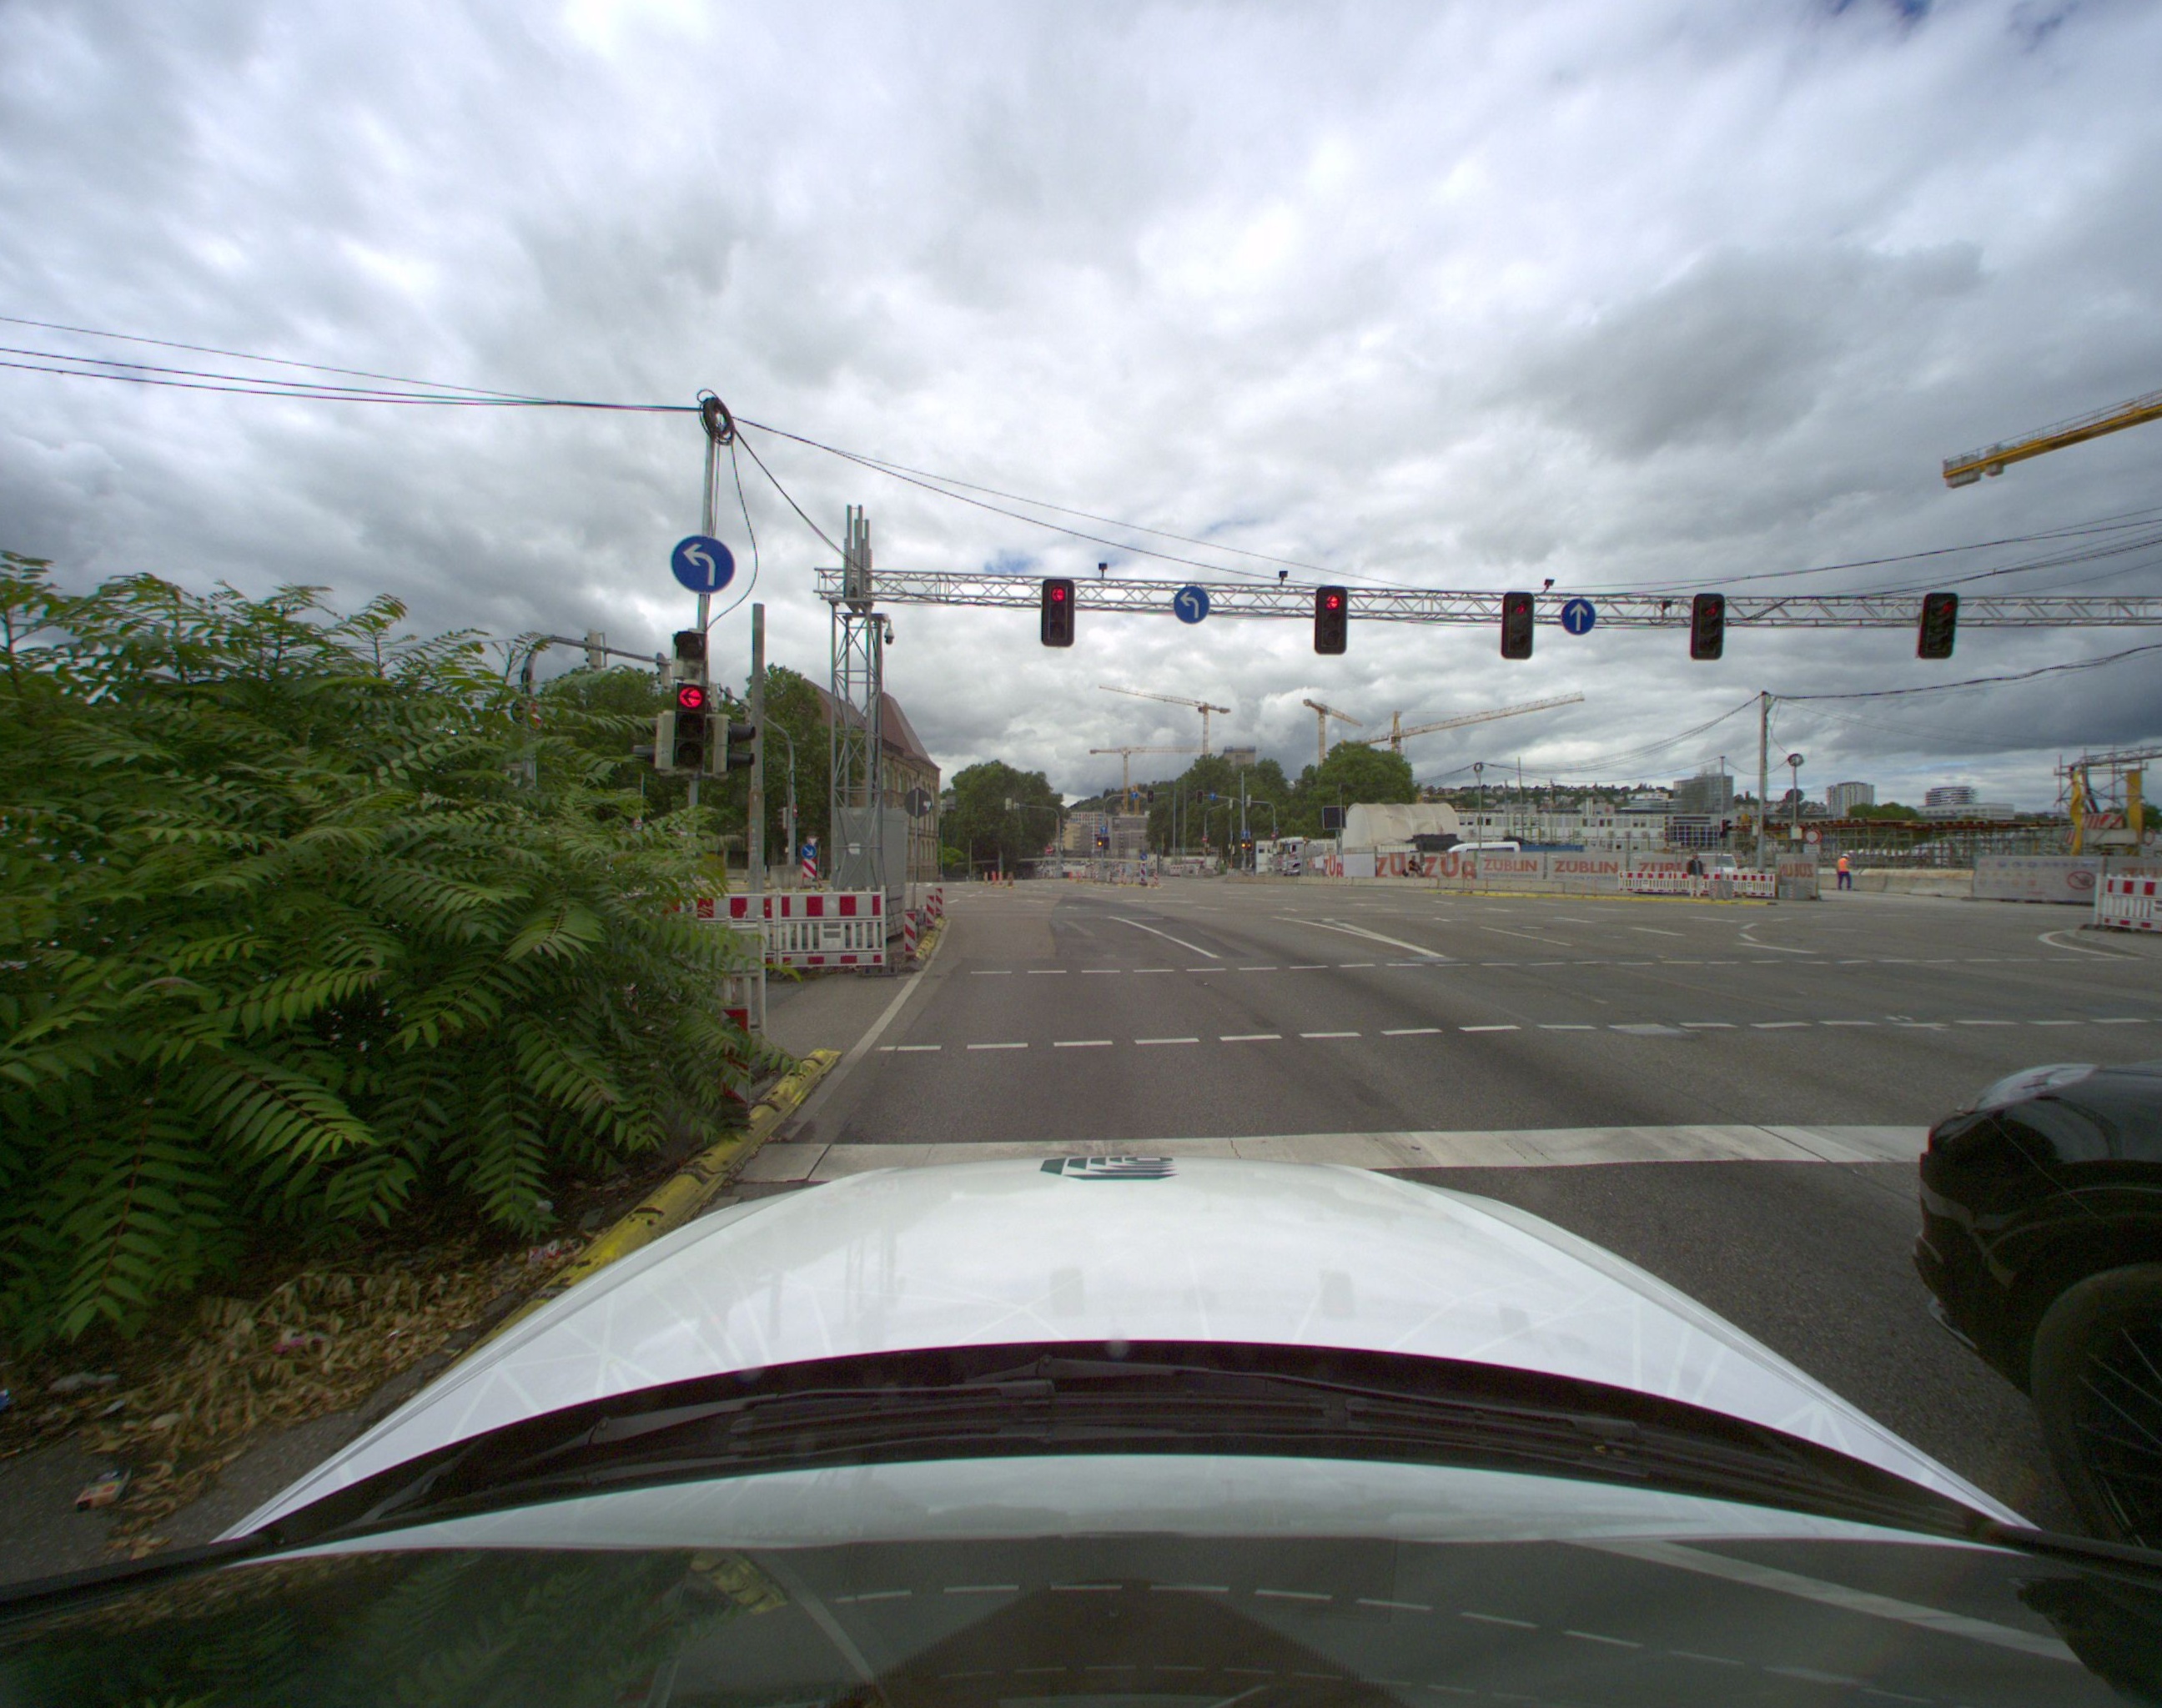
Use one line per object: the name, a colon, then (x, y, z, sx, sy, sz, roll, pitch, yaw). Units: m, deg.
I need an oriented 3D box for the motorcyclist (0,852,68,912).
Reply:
motorcyclist: (-25.624, 0.667, 19.807, 0.963, 1.423, 0.745, 0, 0, -4)

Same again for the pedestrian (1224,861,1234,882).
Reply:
pedestrian: (12.253, 1.435, 67.417, 0.726, 1.689, 0.678, 0, 0, 1)

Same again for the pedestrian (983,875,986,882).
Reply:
pedestrian: (-21.330, 5.351, 179.941, 0.534, 1.592, 0.515, 0, 0, -2)

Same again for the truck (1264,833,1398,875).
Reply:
truck: (25.039, -0.025, 81.592, 13.062, 4.041, 3.926, 0, 0, -18)

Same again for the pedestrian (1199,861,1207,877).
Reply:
pedestrian: (12.946, 1.603, 86.598, 0.726, 1.689, 0.678, 0, 0, 1)

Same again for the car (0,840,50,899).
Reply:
car: (-32.988, 0.430, 23.269, 4.302, 1.676, 1.998, 0, 0, -3)

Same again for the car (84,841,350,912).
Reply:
car: (-21.303, 0.529, 20.263, 4.302, 1.676, 1.998, 0, 0, -3)

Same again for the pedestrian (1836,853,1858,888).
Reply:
pedestrian: (38.415, 0.830, 40.841, 0.651, 1.717, 0.516, 0, 0, -9)

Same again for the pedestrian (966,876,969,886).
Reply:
pedestrian: (-21.549, 5.114, 154.941, 0.522, 2.014, 0.567, 0, 0, 2)

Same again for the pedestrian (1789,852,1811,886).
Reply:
pedestrian: (38.540, 0.785, 43.672, 0.651, 1.795, 0.617, 0, 0, -7)

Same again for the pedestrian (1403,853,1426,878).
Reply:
pedestrian: (18.408, 0.628, 44.994, 0.801, 1.378, 0.897, 0, 0, -27)

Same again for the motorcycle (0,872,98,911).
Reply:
motorcycle: (-25.479, 0.910, 19.822, 2.051, 0.924, 0.756, 0, 0, -4)

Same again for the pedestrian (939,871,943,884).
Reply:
pedestrian: (-21.590, 3.648, 125.537, 0.522, 2.014, 0.567, 0, 0, 2)

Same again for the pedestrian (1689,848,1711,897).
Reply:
pedestrian: (25.681, 0.740, 33.774, 0.645, 2.013, 0.520, 0, 0, 27)

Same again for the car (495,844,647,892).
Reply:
car: (-18.825, 0.504, 30.258, 4.315, 1.676, 1.992, 0, 0, -12)

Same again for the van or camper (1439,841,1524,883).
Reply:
van or camper: (23.148, 0.423, 47.206, 4.181, 2.357, 2.009, 0, 0, 16)

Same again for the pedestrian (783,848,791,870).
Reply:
pedestrian: (-26.785, 0.425, 74.196, 0.530, 2.014, 0.423, 1, -1, -42)

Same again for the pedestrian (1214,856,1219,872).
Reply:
pedestrian: (14.473, 1.023, 86.970, 0.564, 1.689, 0.472, 0, 0, 1)

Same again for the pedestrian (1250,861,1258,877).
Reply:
pedestrian: (18.431, 1.601, 86.832, 0.615, 1.689, 0.716, 0, 0, 31)
